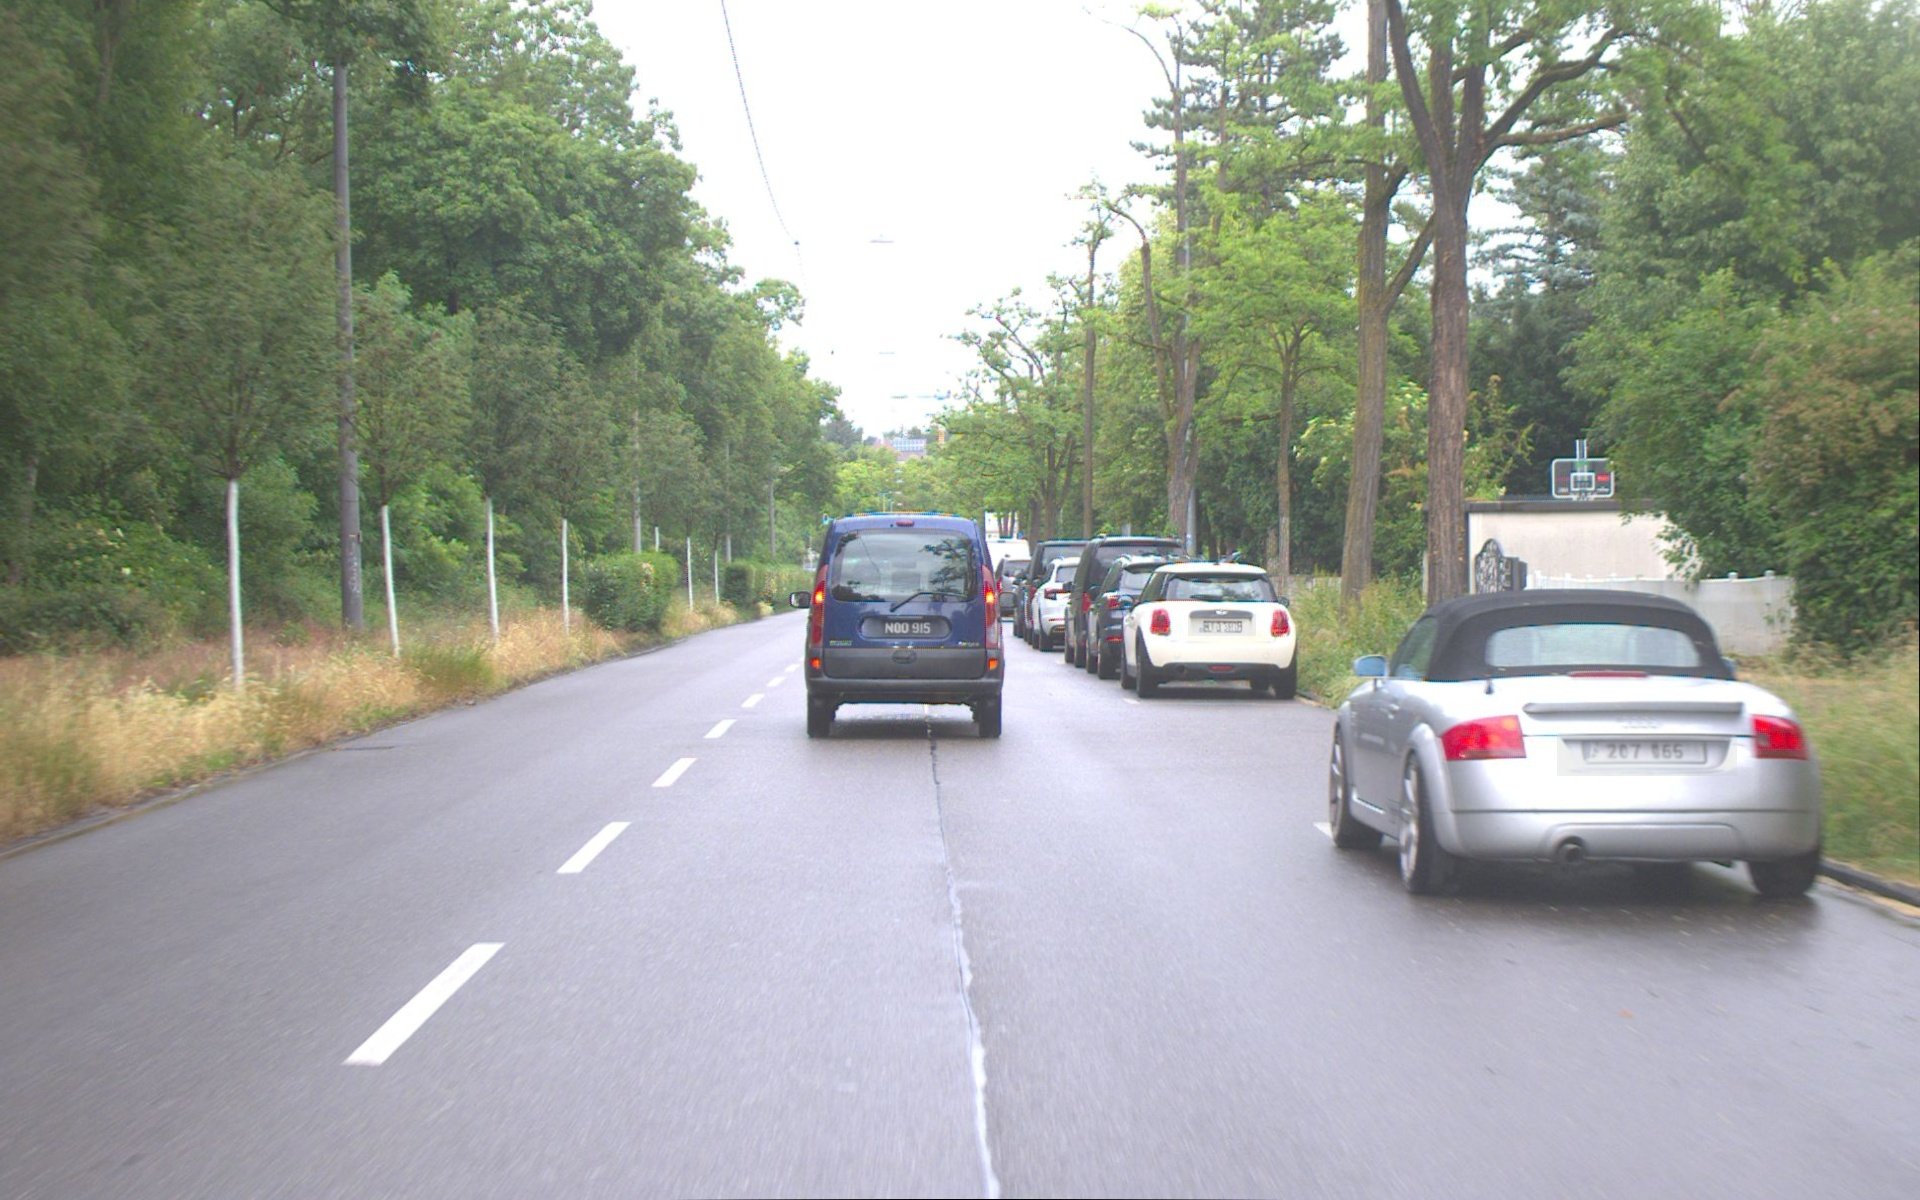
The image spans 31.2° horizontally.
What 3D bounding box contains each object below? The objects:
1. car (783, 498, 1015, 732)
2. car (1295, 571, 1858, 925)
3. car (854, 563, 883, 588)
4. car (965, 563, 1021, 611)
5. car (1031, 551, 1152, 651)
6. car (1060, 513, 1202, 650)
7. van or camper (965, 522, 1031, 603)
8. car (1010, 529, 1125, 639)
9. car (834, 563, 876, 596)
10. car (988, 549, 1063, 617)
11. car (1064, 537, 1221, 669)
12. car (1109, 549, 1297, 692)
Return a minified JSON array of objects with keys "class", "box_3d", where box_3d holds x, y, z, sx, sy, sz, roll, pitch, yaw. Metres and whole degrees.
[{"class":"car","box_3d":[-0.572,0.084,29.007,1.766,1.824,3.542,1,1,-4]},{"class":"car","box_3d":[2.739,0.596,16.170,1.782,1.390,4.001,1,1,-2]},{"class":"car","box_3d":[-5.765,-1.536,217.260,1.783,1.474,3.968,-1,-1,-1]},{"class":"car","box_3d":[1.066,-0.432,109.067,1.626,1.459,3.807,1,1,2]},{"class":"car","box_3d":[2.232,-0.012,59.345,1.804,1.607,4.286,1,1,-1]},{"class":"car","box_3d":[2.398,-0.295,49.061,1.730,1.841,4.230,1,1,-1]},{"class":"van or camper","box_3d":[1.265,-1.292,116.978,2.078,2.641,5.346,1,1,-1]},{"class":"car","box_3d":[2.028,-0.349,66.121,1.993,2.007,4.888,1,1,0]},{"class":"car","box_3d":[-4.990,-0.982,163.412,1.860,1.475,4.156,-1,0,0]},{"class":"car","box_3d":[1.807,-0.497,96.281,1.814,1.807,4.283,1,1,-2]},{"class":"car","box_3d":[2.254,-0.002,43.346,1.678,1.550,4.076,1,1,-1]},{"class":"car","box_3d":[2.622,0.187,37.854,1.738,1.459,3.725,1,1,-1]}]
